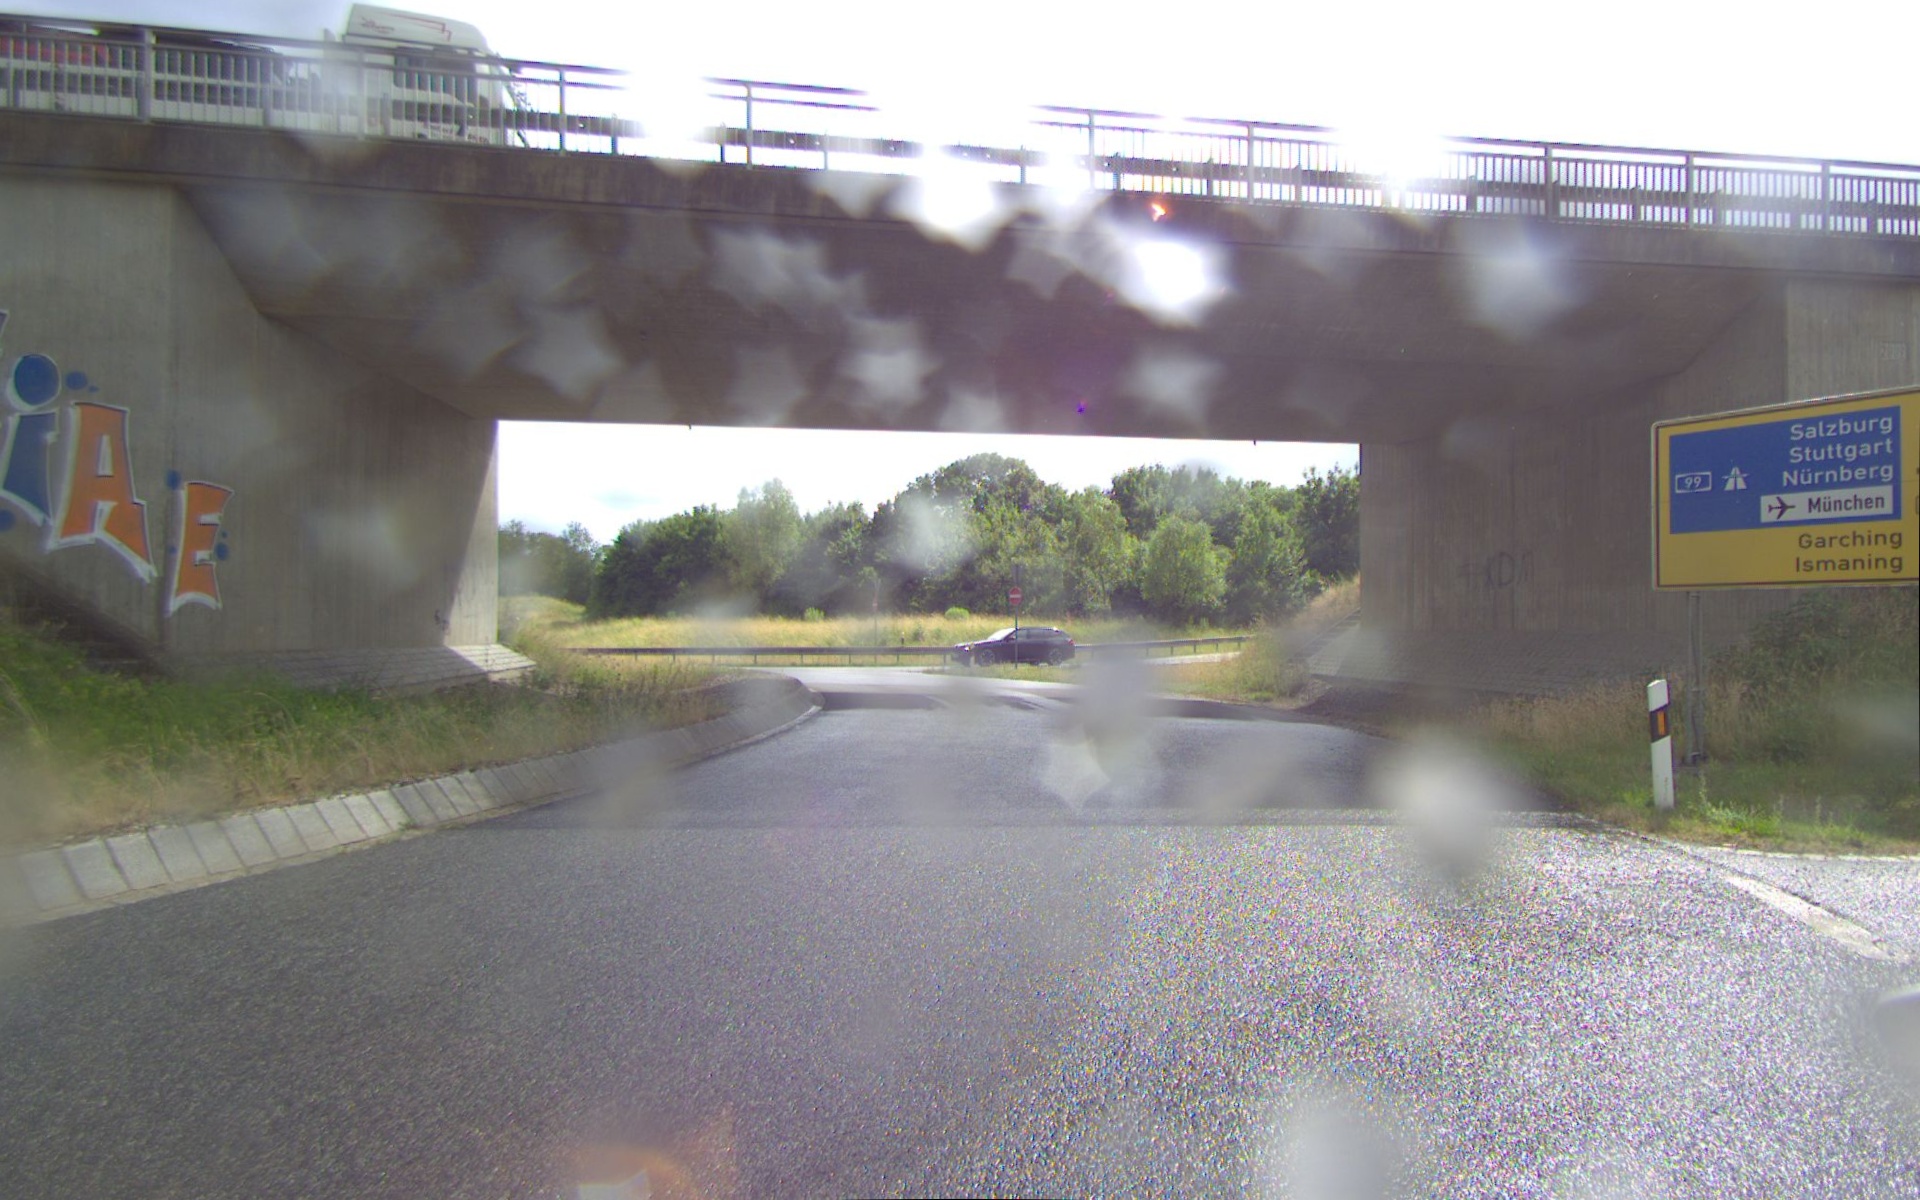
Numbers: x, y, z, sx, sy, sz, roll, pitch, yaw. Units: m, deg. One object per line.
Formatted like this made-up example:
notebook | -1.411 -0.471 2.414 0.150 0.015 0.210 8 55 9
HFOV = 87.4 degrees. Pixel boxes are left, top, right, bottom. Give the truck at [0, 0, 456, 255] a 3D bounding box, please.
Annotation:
truck | -13.122 -7.096 13.997 10.635 2.912 2.202 1 0 -12
